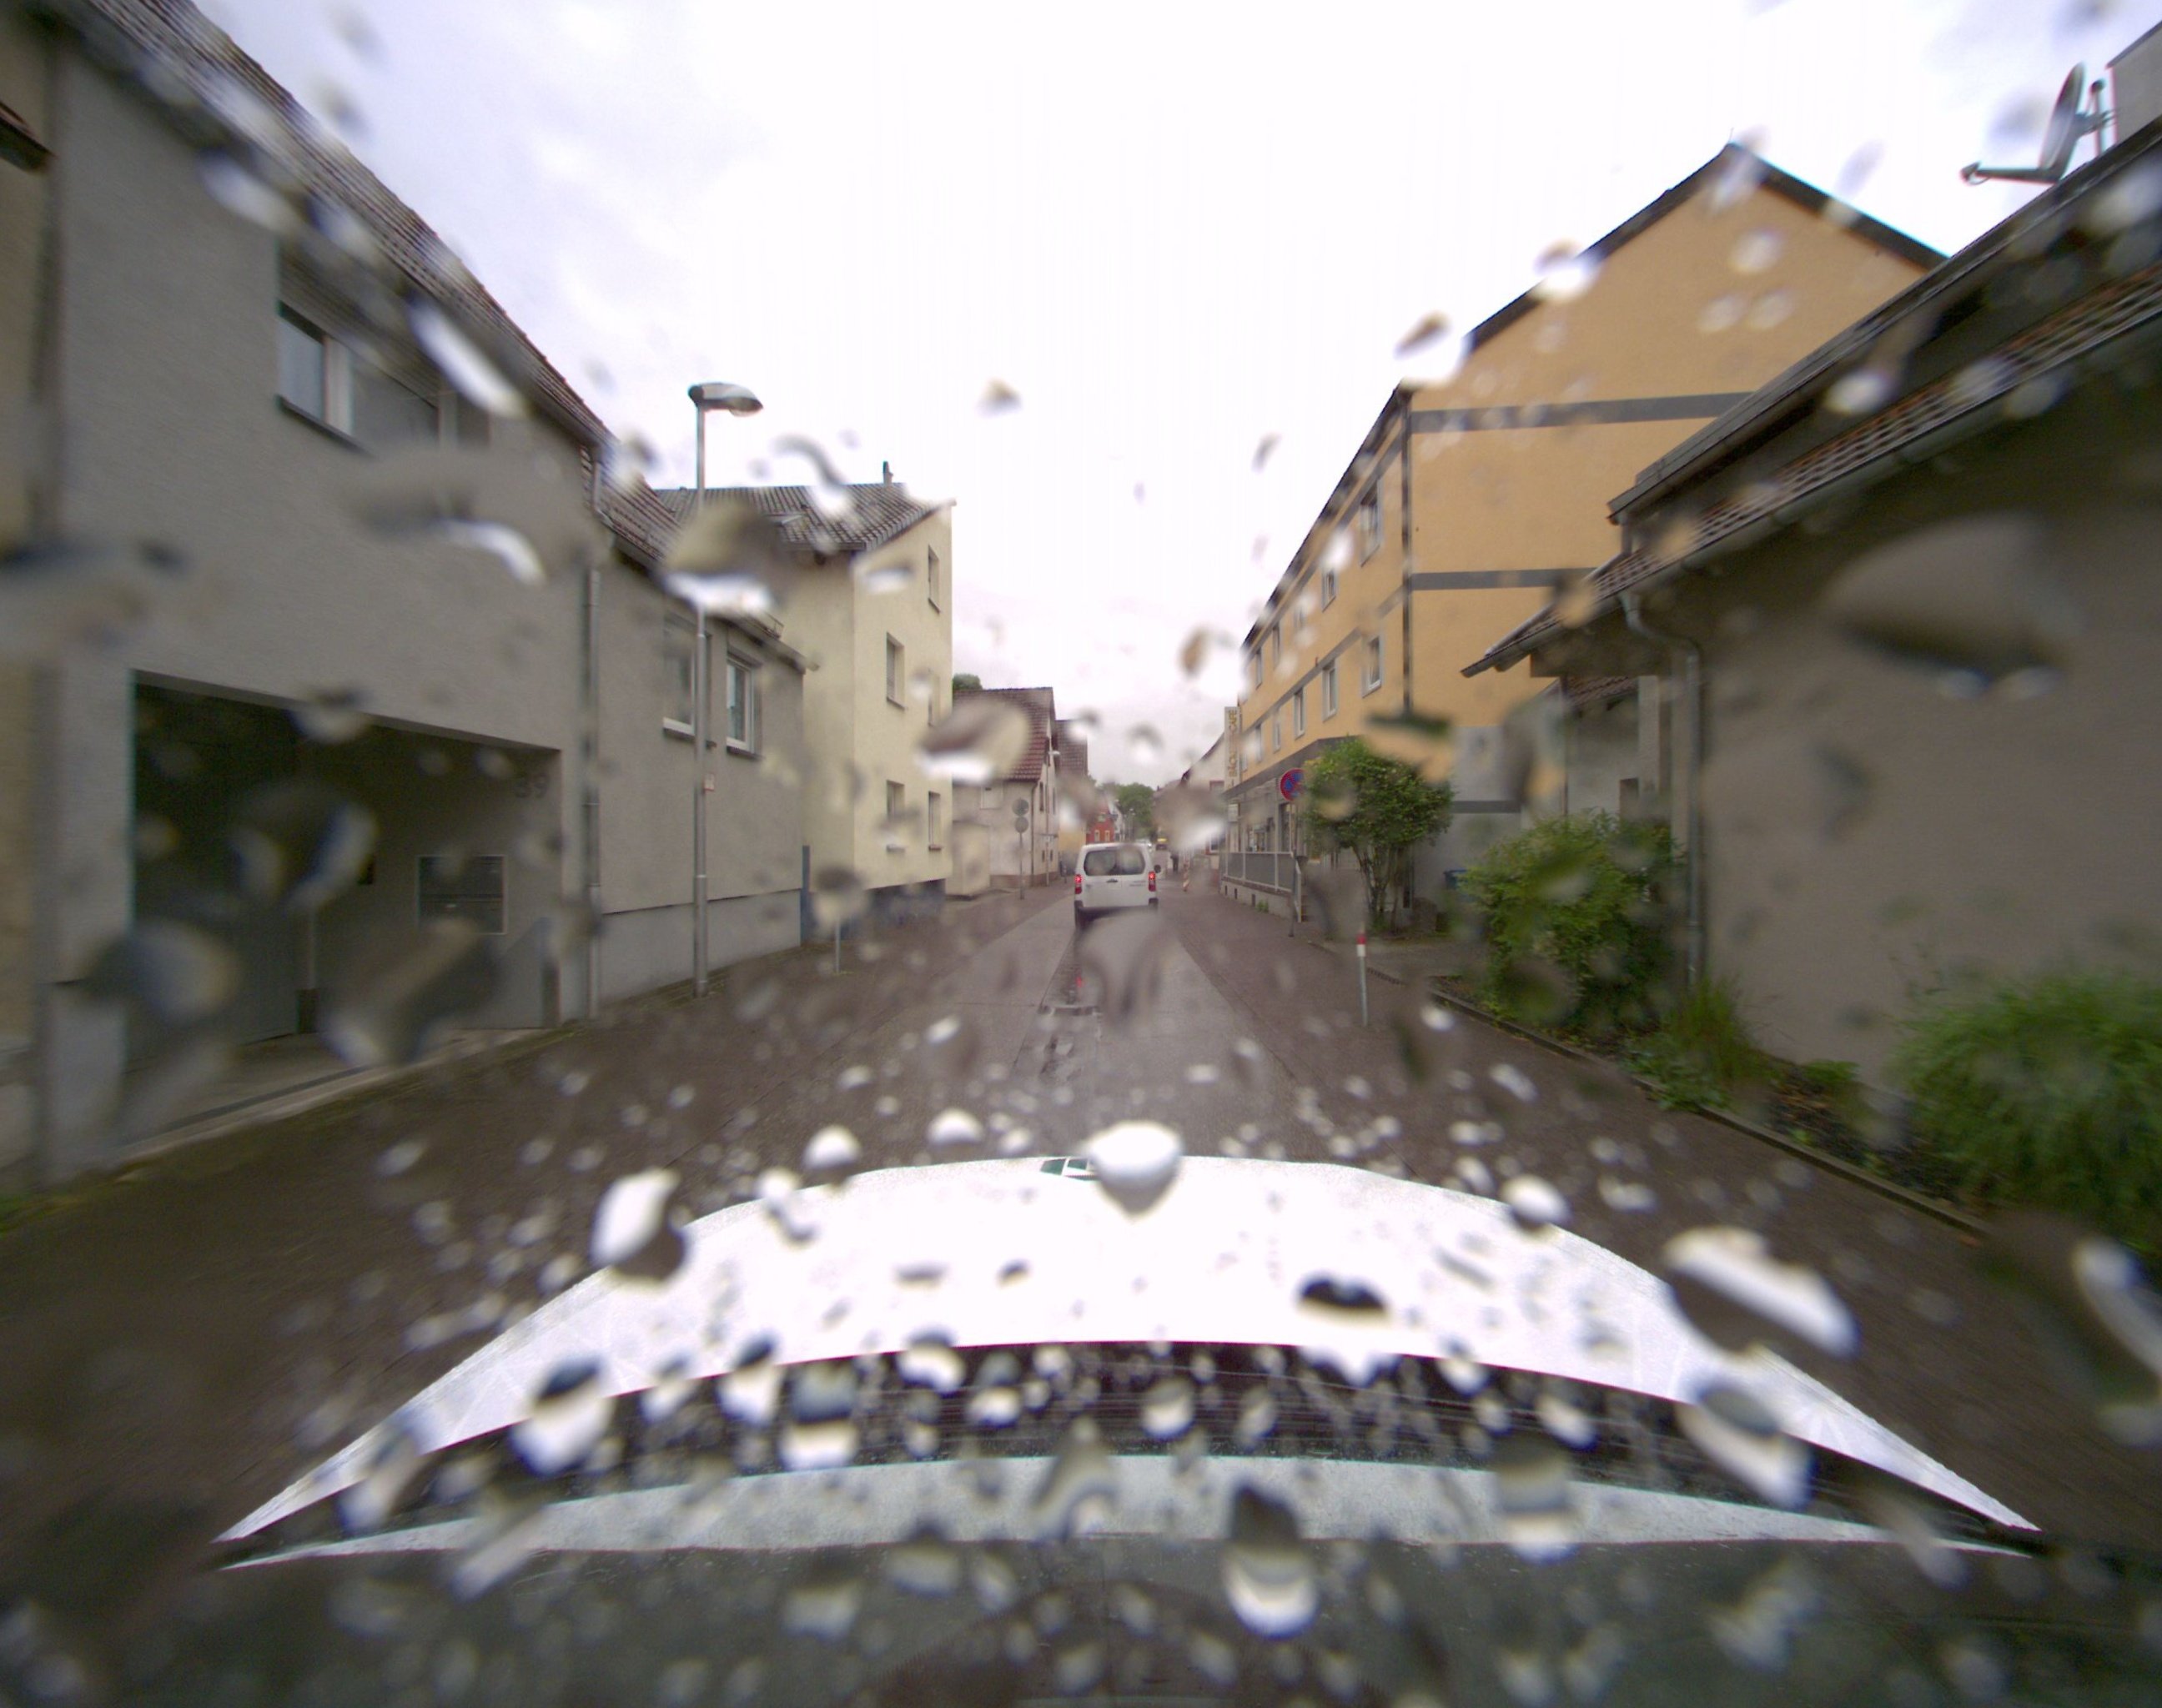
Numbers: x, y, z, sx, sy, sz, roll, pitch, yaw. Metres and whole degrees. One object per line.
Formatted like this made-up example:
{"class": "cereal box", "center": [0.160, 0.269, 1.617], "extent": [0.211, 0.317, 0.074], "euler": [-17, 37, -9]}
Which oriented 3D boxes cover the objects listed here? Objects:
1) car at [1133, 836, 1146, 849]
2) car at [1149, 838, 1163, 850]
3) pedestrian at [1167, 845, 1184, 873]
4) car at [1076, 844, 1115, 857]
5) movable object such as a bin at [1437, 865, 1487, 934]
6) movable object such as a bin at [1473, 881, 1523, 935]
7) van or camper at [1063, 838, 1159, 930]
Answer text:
{"class": "car", "center": [8.428, -1.586, 116.764], "extent": [1.804, 1.779, 4.022], "euler": [0, 0, 4]}
{"class": "car", "center": [11.169, -1.495, 122.165], "extent": [1.985, 1.747, 4.004], "euler": [-1, 0, 4]}
{"class": "pedestrian", "center": [6.063, 0.313, 52.167], "extent": [0.988, 1.735, 0.813], "euler": [0, 2, 9]}
{"class": "car", "center": [1.703, -0.413, 93.525], "extent": [4.013, 1.373, 2.090], "euler": [-1, 0, -32]}
{"class": "movable object such as a bin", "center": [6.262, 0.738, 13.413], "extent": [0.506, 1.081, 0.741], "euler": [-2, 0, 6]}
{"class": "movable object such as a bin", "center": [6.835, 0.872, 13.361], "extent": [0.447, 0.812, 0.741], "euler": [-4, 0, 6]}
{"class": "van or camper", "center": [0.718, 0.618, 18.561], "extent": [1.935, 1.851, 4.003], "euler": [0, 0, 3]}
